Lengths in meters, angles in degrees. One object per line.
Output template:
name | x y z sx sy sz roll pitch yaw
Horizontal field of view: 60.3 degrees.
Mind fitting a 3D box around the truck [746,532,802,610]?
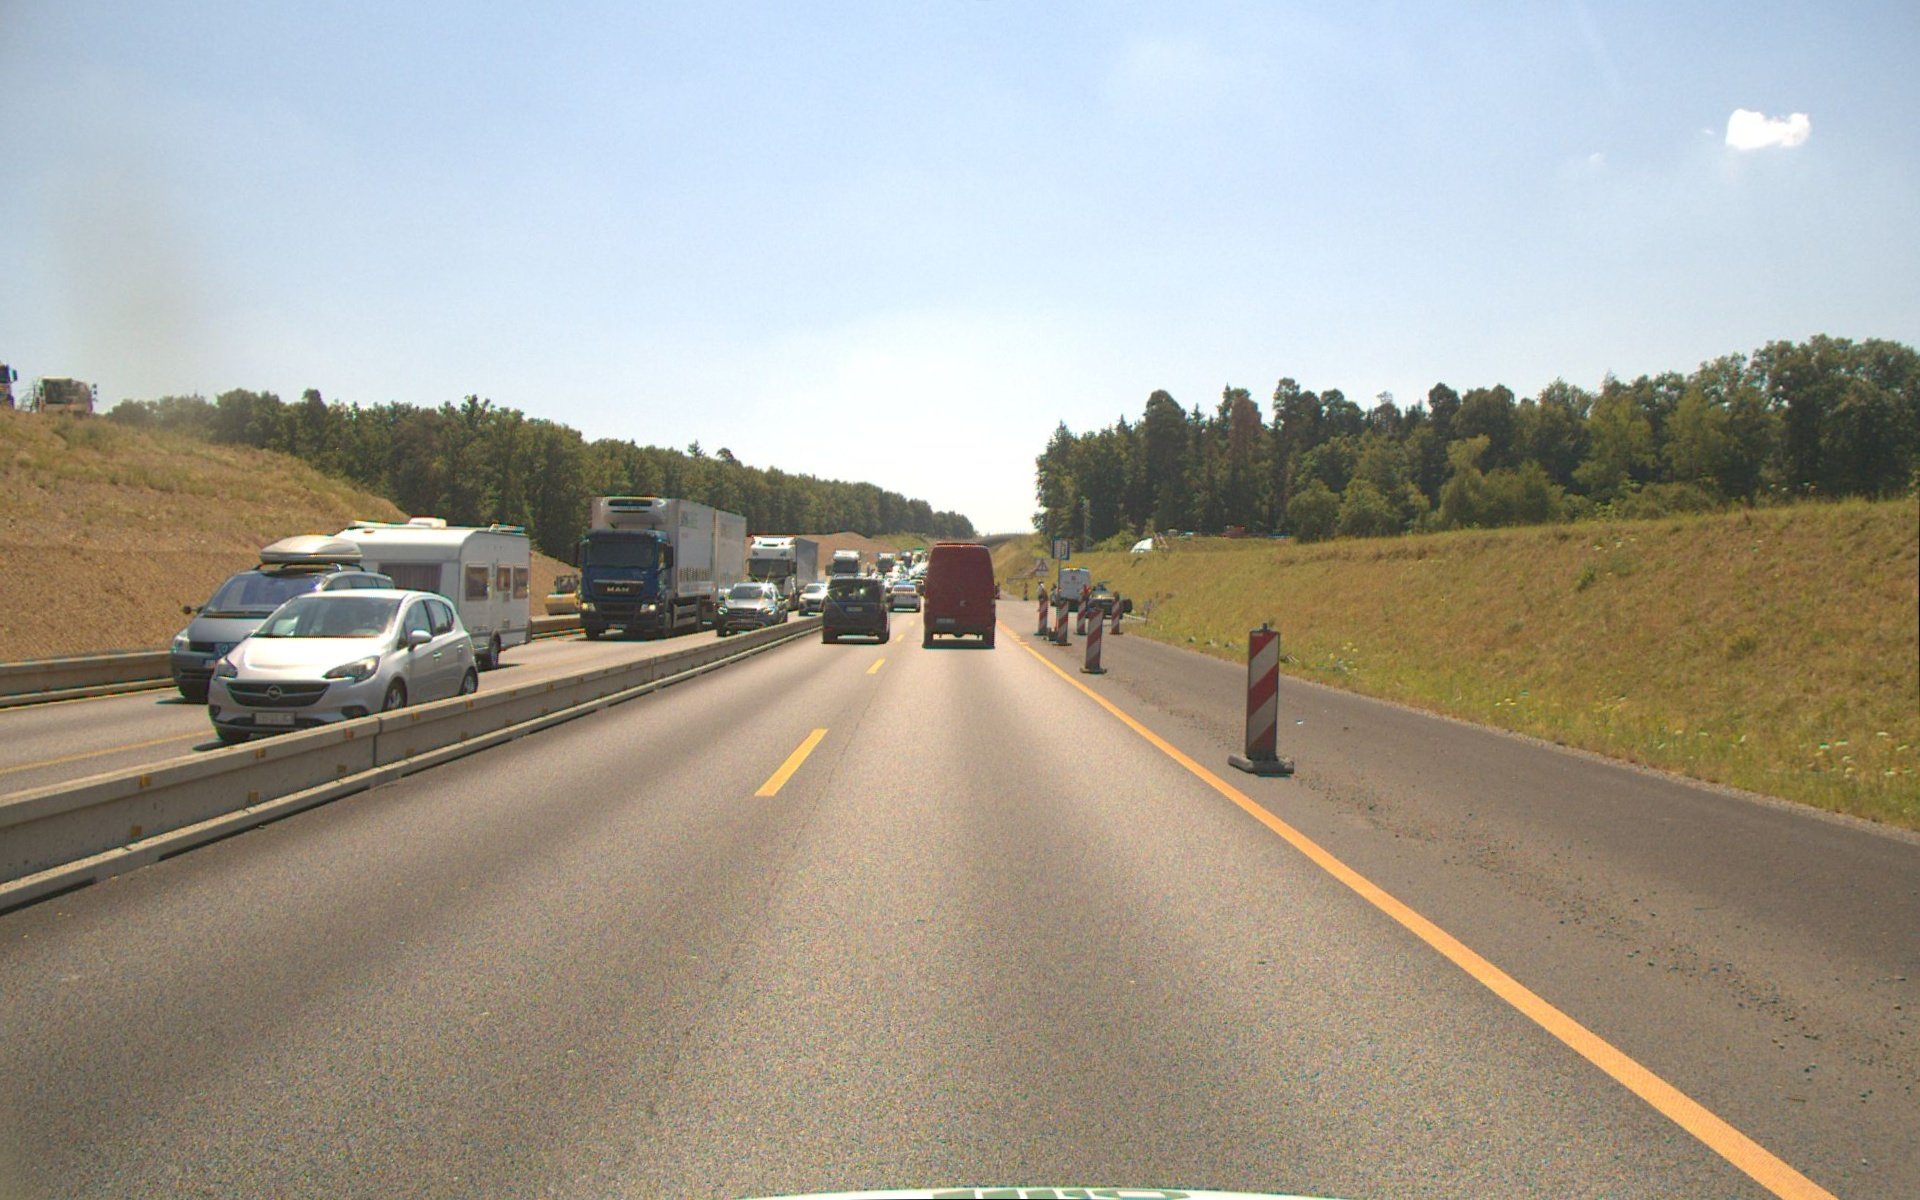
truck | -10.265 -1.577 91.547 2.539 4.124 5.148 1 0 -2

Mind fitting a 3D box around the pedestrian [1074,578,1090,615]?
pedestrian | 6.244 -0.197 84.581 0.631 1.860 0.555 1 1 -22

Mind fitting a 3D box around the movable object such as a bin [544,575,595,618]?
movable object such as a bin | -30.072 -0.318 127.606 2.124 3.163 7.165 -2 1 0

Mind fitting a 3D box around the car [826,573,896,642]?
car | -2.798 0.175 47.611 1.716 1.856 4.782 1 1 -1

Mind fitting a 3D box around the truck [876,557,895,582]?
truck | -11.503 -4.680 255.257 2.457 3.680 9.640 1 0 0

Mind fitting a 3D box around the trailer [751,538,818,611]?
trailer | -10.339 -1.475 98.784 2.599 4.007 13.994 1 0 -1

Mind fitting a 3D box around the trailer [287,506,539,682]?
trailer | -9.433 -0.117 29.322 2.264 2.733 6.755 -1 0 -1

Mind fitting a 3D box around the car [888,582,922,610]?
car | -3.083 -0.214 92.909 1.794 1.548 3.960 1 0 -1

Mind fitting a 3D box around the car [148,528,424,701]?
car | -9.363 0.196 23.476 1.953 2.193 4.864 0 0 -1

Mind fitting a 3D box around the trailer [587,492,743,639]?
trailer | -9.622 -1.062 55.978 2.451 4.252 15.533 -1 0 0

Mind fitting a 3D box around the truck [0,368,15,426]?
truck | -62.697 -13.045 106.494 2.335 2.949 8.262 1 0 -36

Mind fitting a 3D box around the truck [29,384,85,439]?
truck | -62.410 -12.947 114.242 2.277 2.797 8.794 1 0 -36

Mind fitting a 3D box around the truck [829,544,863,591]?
truck | -10.541 -2.961 153.162 2.712 4.114 4.943 1 0 0

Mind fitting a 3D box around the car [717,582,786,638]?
car | -6.521 0.312 52.121 1.654 1.642 4.592 1 0 -1

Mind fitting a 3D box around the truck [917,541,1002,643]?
truck | -0.076 -0.200 45.866 2.110 2.635 5.331 1 0 -2

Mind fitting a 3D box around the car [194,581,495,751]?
car | -6.214 0.620 17.188 1.654 1.528 3.975 1 0 -1

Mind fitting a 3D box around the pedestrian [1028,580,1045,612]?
pedestrian | 4.617 -0.232 99.512 0.715 1.860 0.713 1 -1 -29

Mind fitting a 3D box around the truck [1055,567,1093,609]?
truck | 7.159 -0.746 103.243 2.084 2.499 5.930 1 1 6

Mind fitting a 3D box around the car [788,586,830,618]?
car | -7.408 0.103 81.407 1.771 1.514 4.242 1 0 -1

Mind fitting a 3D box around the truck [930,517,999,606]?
truck | 0.225 -2.447 115.131 4.310 5.592 16.600 1 0 0

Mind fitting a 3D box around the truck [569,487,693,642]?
truck | -9.620 -1.012 48.936 2.440 4.272 5.911 -1 0 0

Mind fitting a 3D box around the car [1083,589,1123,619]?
car | 7.327 0.186 85.052 1.620 1.451 4.545 -2 1 0

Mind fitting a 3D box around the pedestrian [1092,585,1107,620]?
pedestrian | 7.441 0.139 88.174 0.613 1.860 0.640 1 1 -12
